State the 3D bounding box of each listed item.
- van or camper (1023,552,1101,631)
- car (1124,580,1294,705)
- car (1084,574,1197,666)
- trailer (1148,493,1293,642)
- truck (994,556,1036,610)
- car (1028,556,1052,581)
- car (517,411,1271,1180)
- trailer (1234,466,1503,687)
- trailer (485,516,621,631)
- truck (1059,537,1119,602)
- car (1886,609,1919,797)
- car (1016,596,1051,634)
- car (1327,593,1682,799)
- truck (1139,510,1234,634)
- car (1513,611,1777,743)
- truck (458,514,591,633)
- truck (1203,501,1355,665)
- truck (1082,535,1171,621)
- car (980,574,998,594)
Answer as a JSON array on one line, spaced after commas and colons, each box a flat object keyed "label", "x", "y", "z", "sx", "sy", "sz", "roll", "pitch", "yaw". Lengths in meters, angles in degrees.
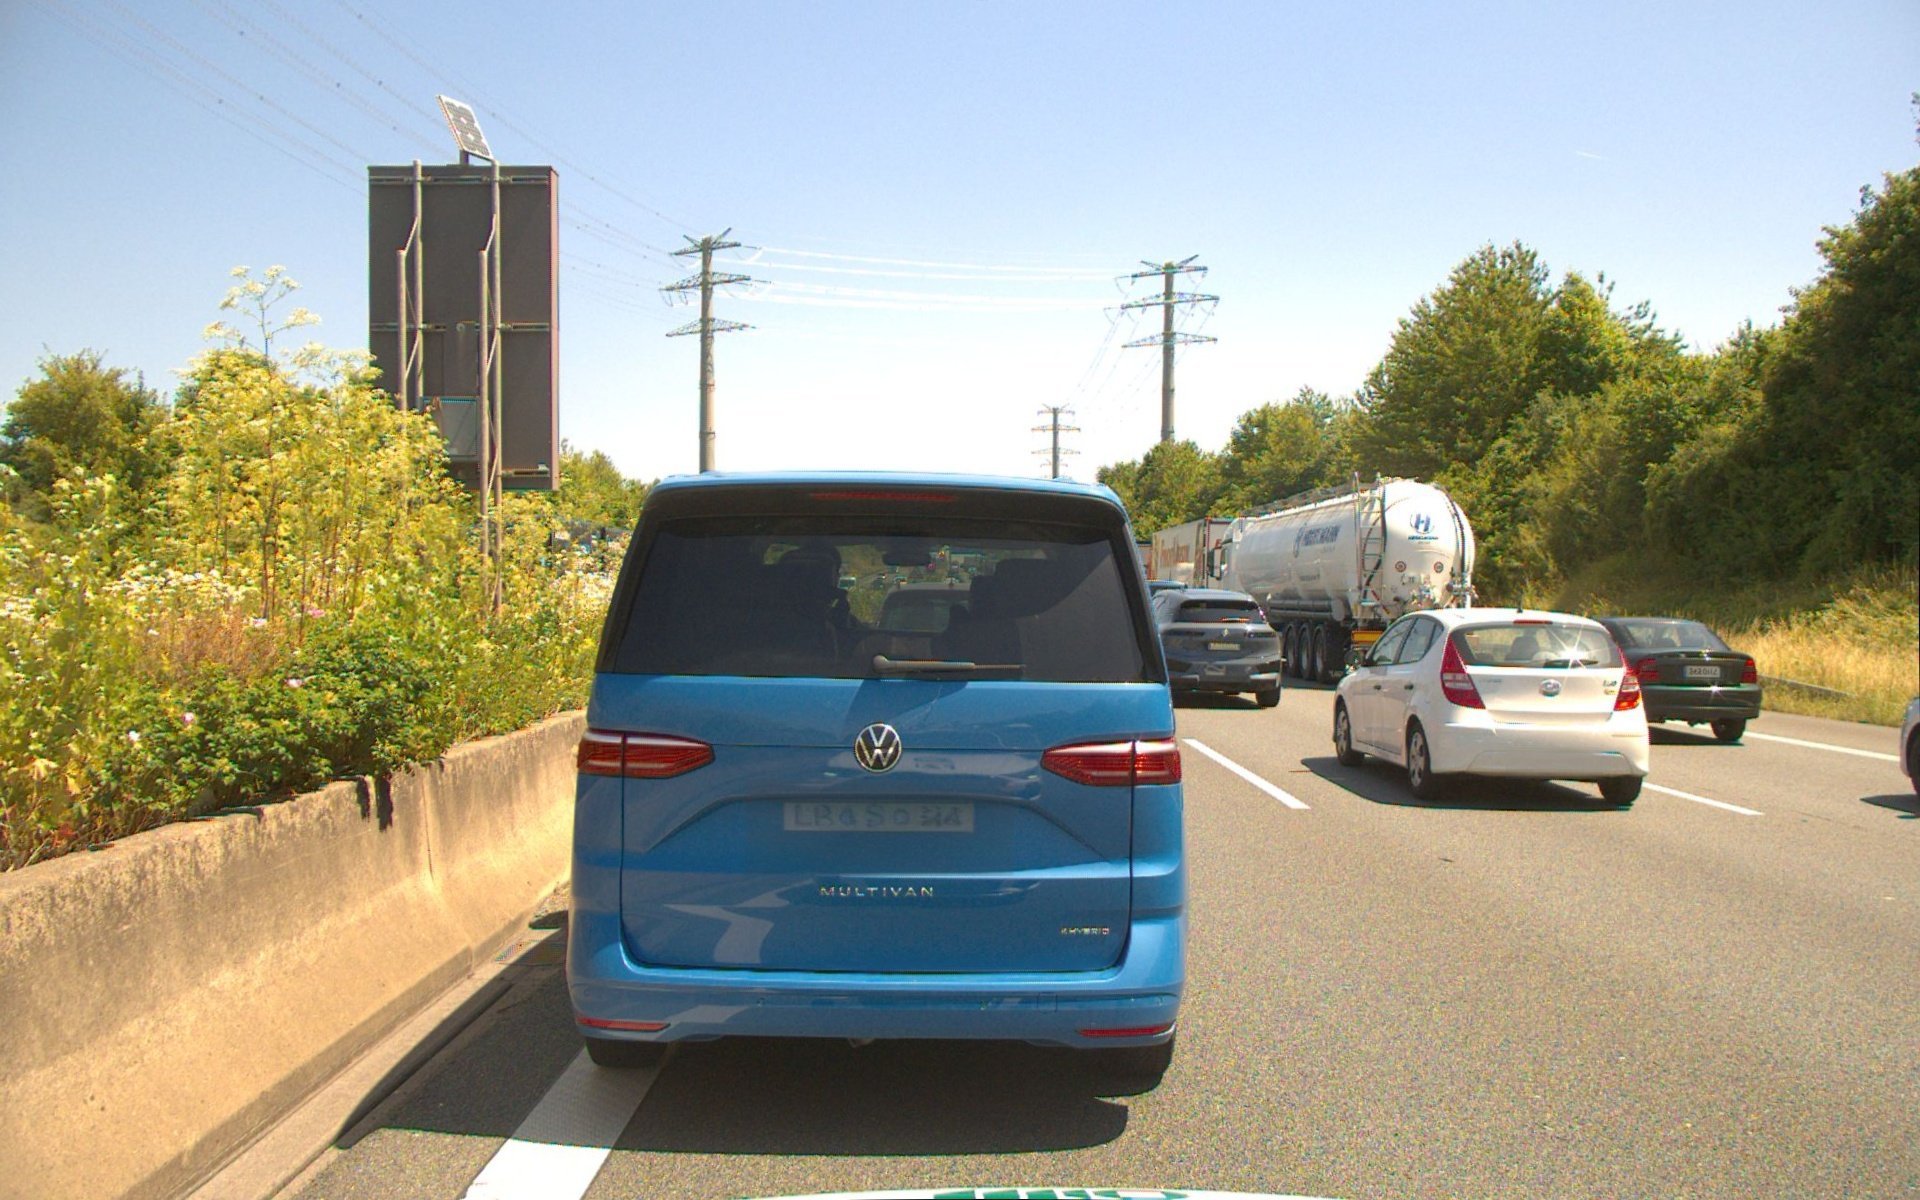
[{"label": "van or camper", "x": 4.166, "y": -0.316, "z": 68.837, "sx": 2.896, "sy": 3.075, "sz": 7.103, "roll": 0, "pitch": 0, "yaw": 1}, {"label": "car", "x": 3.745, "y": 0.627, "z": 25.640, "sx": 1.958, "sy": 1.745, "sz": 4.625, "roll": 0, "pitch": -1, "yaw": 0}, {"label": "car", "x": 4.082, "y": 0.463, "z": 38.083, "sx": 1.885, "sy": 1.959, "sz": 4.232, "roll": -1, "pitch": -1, "yaw": -3}, {"label": "trailer", "x": 8.681, "y": -0.990, "z": 56.769, "sx": 2.853, "sy": 4.547, "sz": 12.151, "roll": 0, "pitch": 0, "yaw": -1}, {"label": "truck", "x": 4.026, "y": -1.187, "z": 123.599, "sx": 2.836, "sy": 3.832, "sz": 10.140, "roll": 0, "pitch": 0, "yaw": 0}, {"label": "car", "x": 7.059, "y": -2.782, "z": 146.822, "sx": 1.953, "sy": 2.049, "sz": 4.000, "roll": 0, "pitch": 0, "yaw": 0}, {"label": "car", "x": -0.174, "y": 0.492, "z": 6.218, "sx": 1.881, "sy": 1.919, "sz": 4.000, "roll": 1, "pitch": 0, "yaw": 0}, {"label": "trailer", "x": 8.197, "y": -0.412, "z": 35.091, "sx": 2.705, "sy": 3.912, "sz": 11.484, "roll": 0, "pitch": 0, "yaw": -1}, {"label": "trailer", "x": -14.423, "y": -0.893, "z": 59.273, "sx": 3.061, "sy": 3.825, "sz": 7.868, "roll": 0, "pitch": 0, "yaw": -1}, {"label": "truck", "x": 8.116, "y": -1.828, "z": 105.651, "sx": 2.836, "sy": 3.832, "sz": 13.344, "roll": 0, "pitch": 0, "yaw": 0}, {"label": "car", "x": 8.393, "y": 0.827, "z": 11.443, "sx": 1.695, "sy": 1.468, "sz": 4.028, "roll": 0, "pitch": 1, "yaw": -1}, {"label": "car", "x": 3.994, "y": 0.849, "z": 90.885, "sx": 1.798, "sy": 2.033, "sz": 4.000, "roll": -1, "pitch": -1, "yaw": 1}, {"label": "car", "x": 4.455, "y": 0.736, "z": 14.190, "sx": 1.779, "sy": 1.511, "sz": 4.000, "roll": 0, "pitch": -1, "yaw": 1}, {"label": "truck", "x": 8.603, "y": -1.018, "z": 63.310, "sx": 2.853, "sy": 4.547, "sz": 5.141, "roll": 0, "pitch": 0, "yaw": -1}, {"label": "car", "x": 8.333, "y": 0.882, "z": 20.500, "sx": 1.607, "sy": 1.441, "sz": 3.988, "roll": -1, "pitch": -1, "yaw": 0}, {"label": "truck", "x": -14.346, "y": -0.840, "z": 54.905, "sx": 3.009, "sy": 3.774, "sz": 5.462, "roll": 0, "pitch": 0, "yaw": -1}, {"label": "truck", "x": 8.063, "y": -0.407, "z": 42.431, "sx": 2.736, "sy": 3.903, "sz": 5.571, "roll": 0, "pitch": 0, "yaw": -1}, {"label": "truck", "x": 8.036, "y": -0.937, "z": 81.962, "sx": 2.944, "sy": 3.832, "sz": 15.712, "roll": 0, "pitch": 0, "yaw": 0}, {"label": "car", "x": 3.338, "y": -1.793, "z": 189.495, "sx": 1.953, "sy": 2.163, "sz": 3.999, "roll": 0, "pitch": 0, "yaw": -1}]
